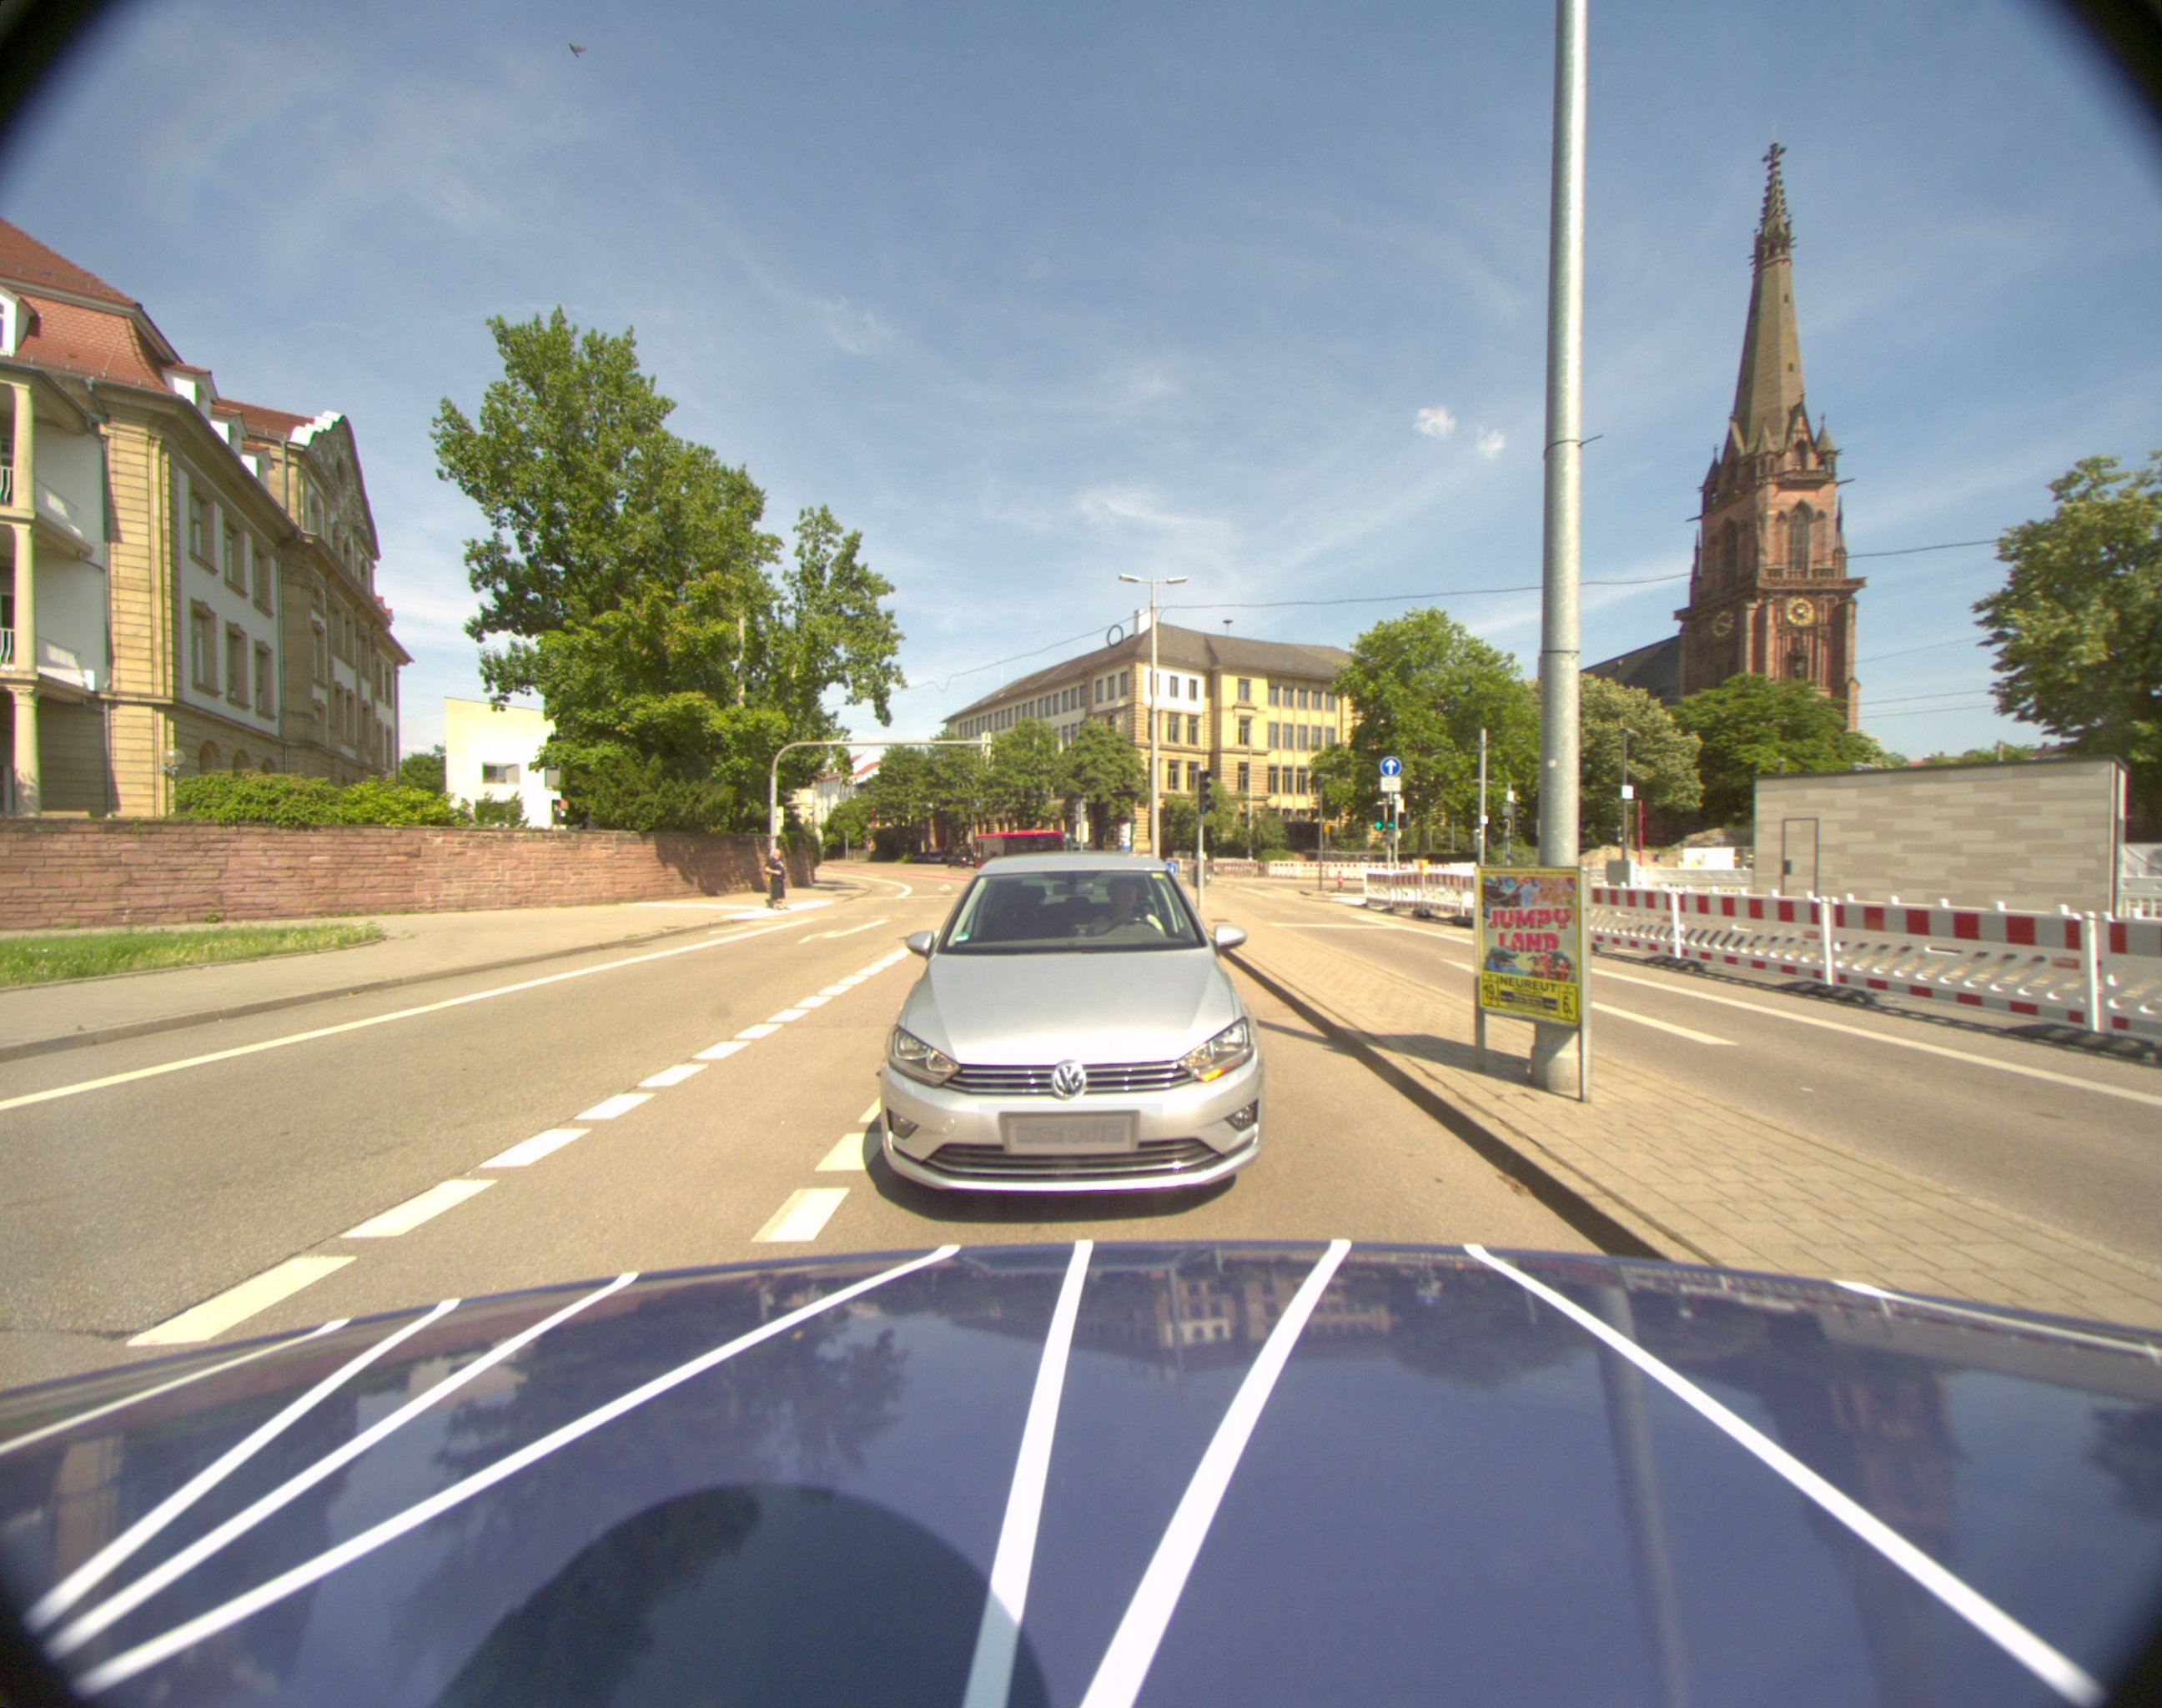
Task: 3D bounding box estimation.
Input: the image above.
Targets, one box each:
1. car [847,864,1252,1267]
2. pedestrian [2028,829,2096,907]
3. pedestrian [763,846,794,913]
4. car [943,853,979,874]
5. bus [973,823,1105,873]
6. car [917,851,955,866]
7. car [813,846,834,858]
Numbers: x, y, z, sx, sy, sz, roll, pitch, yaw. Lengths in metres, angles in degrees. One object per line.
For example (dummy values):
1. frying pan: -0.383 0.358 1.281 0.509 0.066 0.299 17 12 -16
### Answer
1. car: -0.037 0.904 5.248 1.687 1.577 4.152 0 0 3
2. pedestrian: 25.722 0.355 19.926 0.820 2.002 0.686 1 1 3
3. pedestrian: -9.136 0.751 22.976 0.796 2.002 0.615 0 1 -14
4. car: -11.403 0.874 72.105 2.003 1.880 3.990 -3 1 -31
5. bus: -3.300 -0.343 53.131 3.138 3.076 12.382 -3 1 -34
6. car: -17.920 0.551 93.959 4.006 1.653 1.994 -3 4 -35
7. car: -38.296 -0.283 112.958 2.003 1.608 3.990 -3 1 -31
